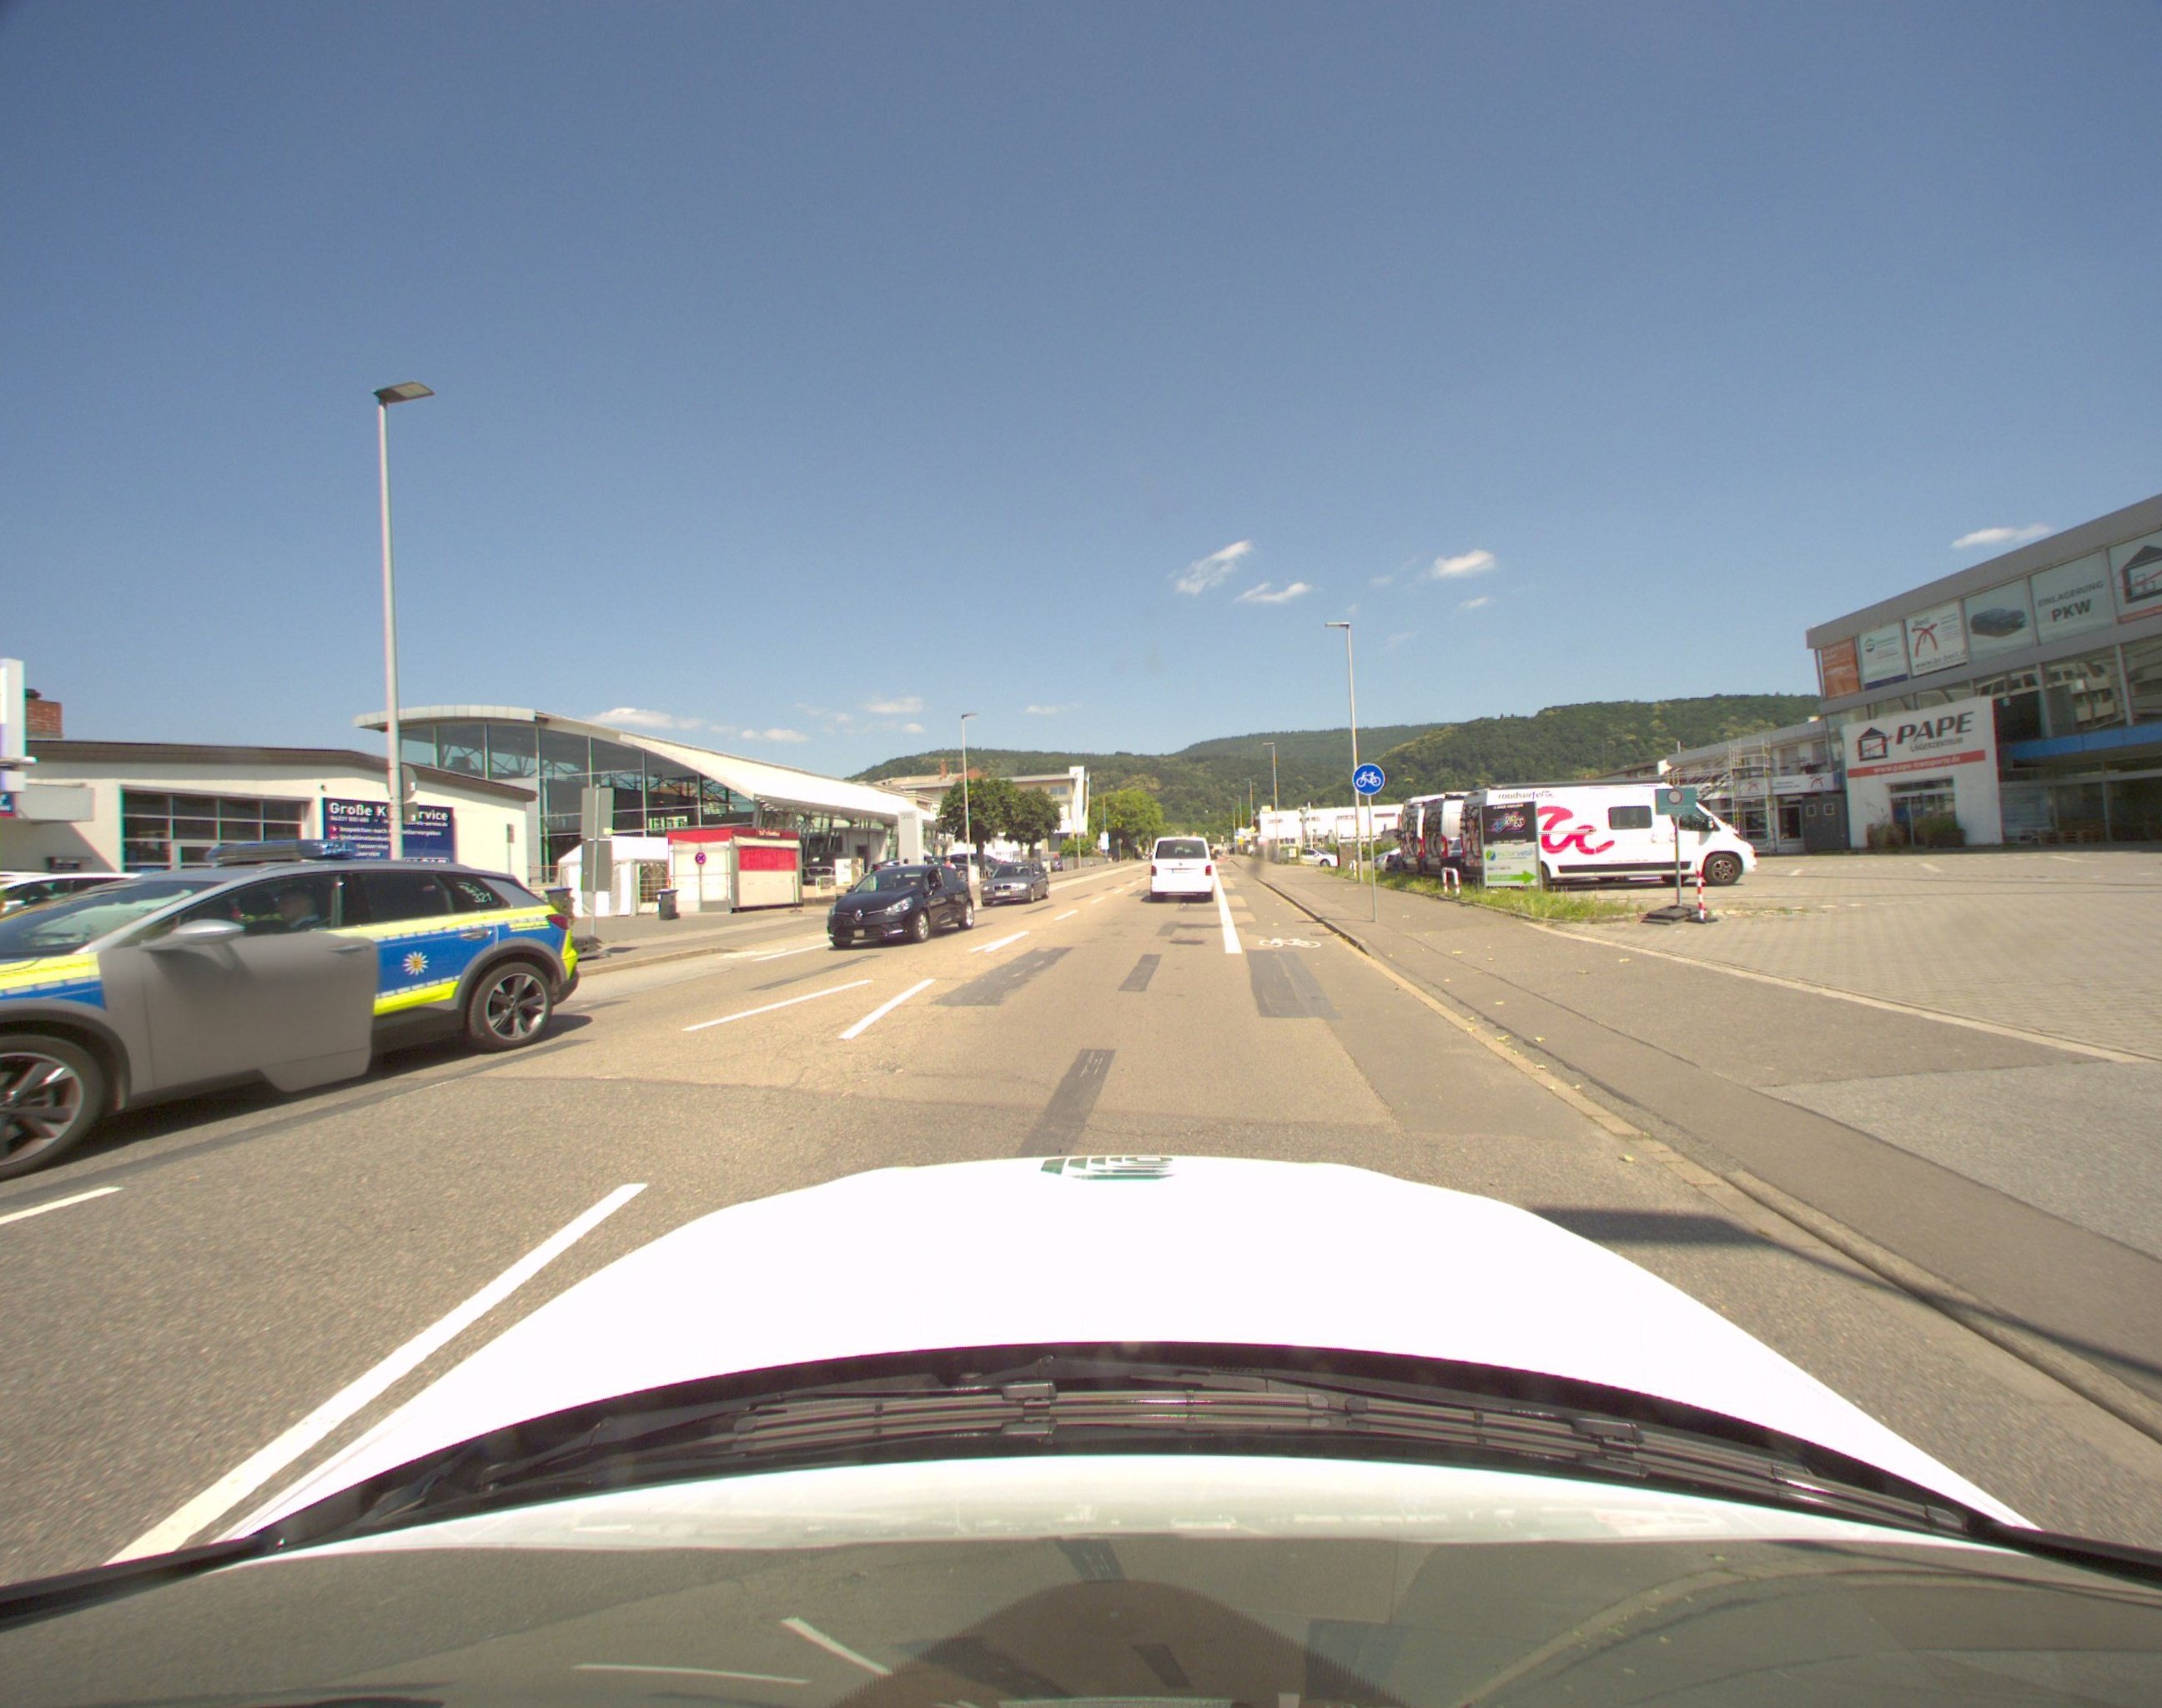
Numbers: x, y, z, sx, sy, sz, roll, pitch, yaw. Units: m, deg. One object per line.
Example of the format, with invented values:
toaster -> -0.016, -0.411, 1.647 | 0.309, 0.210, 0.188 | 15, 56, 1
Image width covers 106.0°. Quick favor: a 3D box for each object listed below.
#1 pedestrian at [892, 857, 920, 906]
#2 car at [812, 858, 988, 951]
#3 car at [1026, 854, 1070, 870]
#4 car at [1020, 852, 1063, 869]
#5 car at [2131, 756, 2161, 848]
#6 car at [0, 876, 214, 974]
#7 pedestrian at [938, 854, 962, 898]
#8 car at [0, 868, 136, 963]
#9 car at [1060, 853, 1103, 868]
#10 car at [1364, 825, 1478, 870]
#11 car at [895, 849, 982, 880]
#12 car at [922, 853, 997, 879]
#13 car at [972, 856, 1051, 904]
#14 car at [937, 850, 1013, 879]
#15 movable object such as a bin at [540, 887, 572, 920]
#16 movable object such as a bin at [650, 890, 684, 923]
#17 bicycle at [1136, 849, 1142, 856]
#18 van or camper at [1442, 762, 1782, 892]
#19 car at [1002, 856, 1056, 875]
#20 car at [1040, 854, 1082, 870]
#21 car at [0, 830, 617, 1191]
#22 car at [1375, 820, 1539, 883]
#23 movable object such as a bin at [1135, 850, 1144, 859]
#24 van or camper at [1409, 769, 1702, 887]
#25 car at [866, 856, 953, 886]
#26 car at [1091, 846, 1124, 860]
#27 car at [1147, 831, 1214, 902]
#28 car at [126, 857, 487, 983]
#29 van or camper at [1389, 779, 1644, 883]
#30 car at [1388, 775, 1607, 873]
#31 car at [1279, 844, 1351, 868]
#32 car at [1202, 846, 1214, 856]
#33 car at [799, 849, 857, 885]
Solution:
pedestrian -> -6.710, 1.043, 31.297 | 0.720, 1.848, 0.912 | -3, 0, 4
car -> -3.381, 0.889, 16.131 | 1.649, 1.454, 4.255 | -5, 0, 12
car -> -3.163, 0.803, 78.096 | 3.966, 1.443, 1.862 | 1, -2, 6
car -> -3.680, 0.615, 75.744 | 3.877, 1.444, 1.823 | 1, -2, 0
car -> 30.864, -1.500, 20.484 | 5.267, 2.419, 2.331 | -3, 0, 8
car -> -19.711, 1.318, 15.184 | 1.894, 1.709, 4.494 | -3, -2, 13
pedestrian -> -5.670, 0.939, 35.242 | 0.729, 1.867, 1.048 | -3, 0, 3
car -> -22.077, 1.273, 15.805 | 1.895, 1.816, 4.433 | -3, 0, 12
car -> 0.084, 0.780, 95.863 | 4.713, 1.481, 2.052 | -3, 0, 7
car -> 13.817, -0.276, 33.281 | 3.899, 1.593, 1.802 | -3, 0, 8
car -> -8.139, 0.600, 46.573 | 4.492, 1.608, 1.949 | 1, 3, -27
car -> -7.494, 0.756, 50.420 | 4.212, 1.495, 1.858 | -1, -1, -27
car -> -2.302, 0.837, 28.153 | 1.732, 1.404, 4.333 | -5, 0, 7
car -> -7.037, 0.685, 53.999 | 4.590, 1.696, 1.843 | -2, 0, -27
movable object such as a bin -> -17.687, 1.651, 27.438 | 0.559, 1.043, 0.693 | 0, 1, 22
movable object such as a bin -> -12.472, 1.576, 24.540 | 0.566, 0.922, 0.693 | 0, 1, 22
bicycle -> 10.169, -0.281, 142.839 | 1.021, 1.118, 2.770 | 0, 0, 6
van or camper -> 12.270, -0.576, 19.362 | 6.160, 2.524, 2.625 | -3, 0, 8
car -> -4.653, 0.992, 73.457 | 4.500, 1.457, 1.904 | -3, 0, 6
car -> -2.112, 0.843, 88.038 | 4.276, 1.558, 1.998 | -3, 0, 5
car -> -5.833, 0.792, 5.733 | 1.879, 1.758, 4.370 | -3, 0, 14
car -> 14.056, -0.074, 30.751 | 5.204, 1.952, 2.005 | -4, 0, 8
movable object such as a bin -> 10.966, 0.174, 152.329 | 1.443, 1.590, 1.307 | -3, 0, 0
van or camper -> 12.718, -0.649, 22.395 | 6.312, 2.716, 2.719 | -3, 0, 8
car -> -9.003, 0.905, 42.863 | 4.165, 1.459, 1.893 | 2, -2, -24
car -> 3.761, -0.172, 115.379 | 4.546, 1.865, 2.095 | -2, 0, 3
car -> 3.181, 0.368, 25.942 | 1.924, 2.059, 4.554 | 0, 0, 7
car -> -12.782, 0.981, 13.858 | 1.893, 1.715, 4.012 | -3, 0, 11
van or camper -> 13.213, -0.645, 25.233 | 6.312, 2.700, 2.719 | -3, 0, 8
car -> 14.094, -0.967, 27.985 | 6.192, 2.869, 2.326 | -3, 0, 8
car -> 17.751, 0.192, 62.041 | 2.033, 1.621, 4.989 | 4, -4, -38
car -> 24.293, -0.518, 155.612 | 1.983, 1.750, 4.007 | -3, 0, 6
car -> -13.026, 0.647, 42.211 | 1.991, 1.719, 4.722 | 1, 0, -6
